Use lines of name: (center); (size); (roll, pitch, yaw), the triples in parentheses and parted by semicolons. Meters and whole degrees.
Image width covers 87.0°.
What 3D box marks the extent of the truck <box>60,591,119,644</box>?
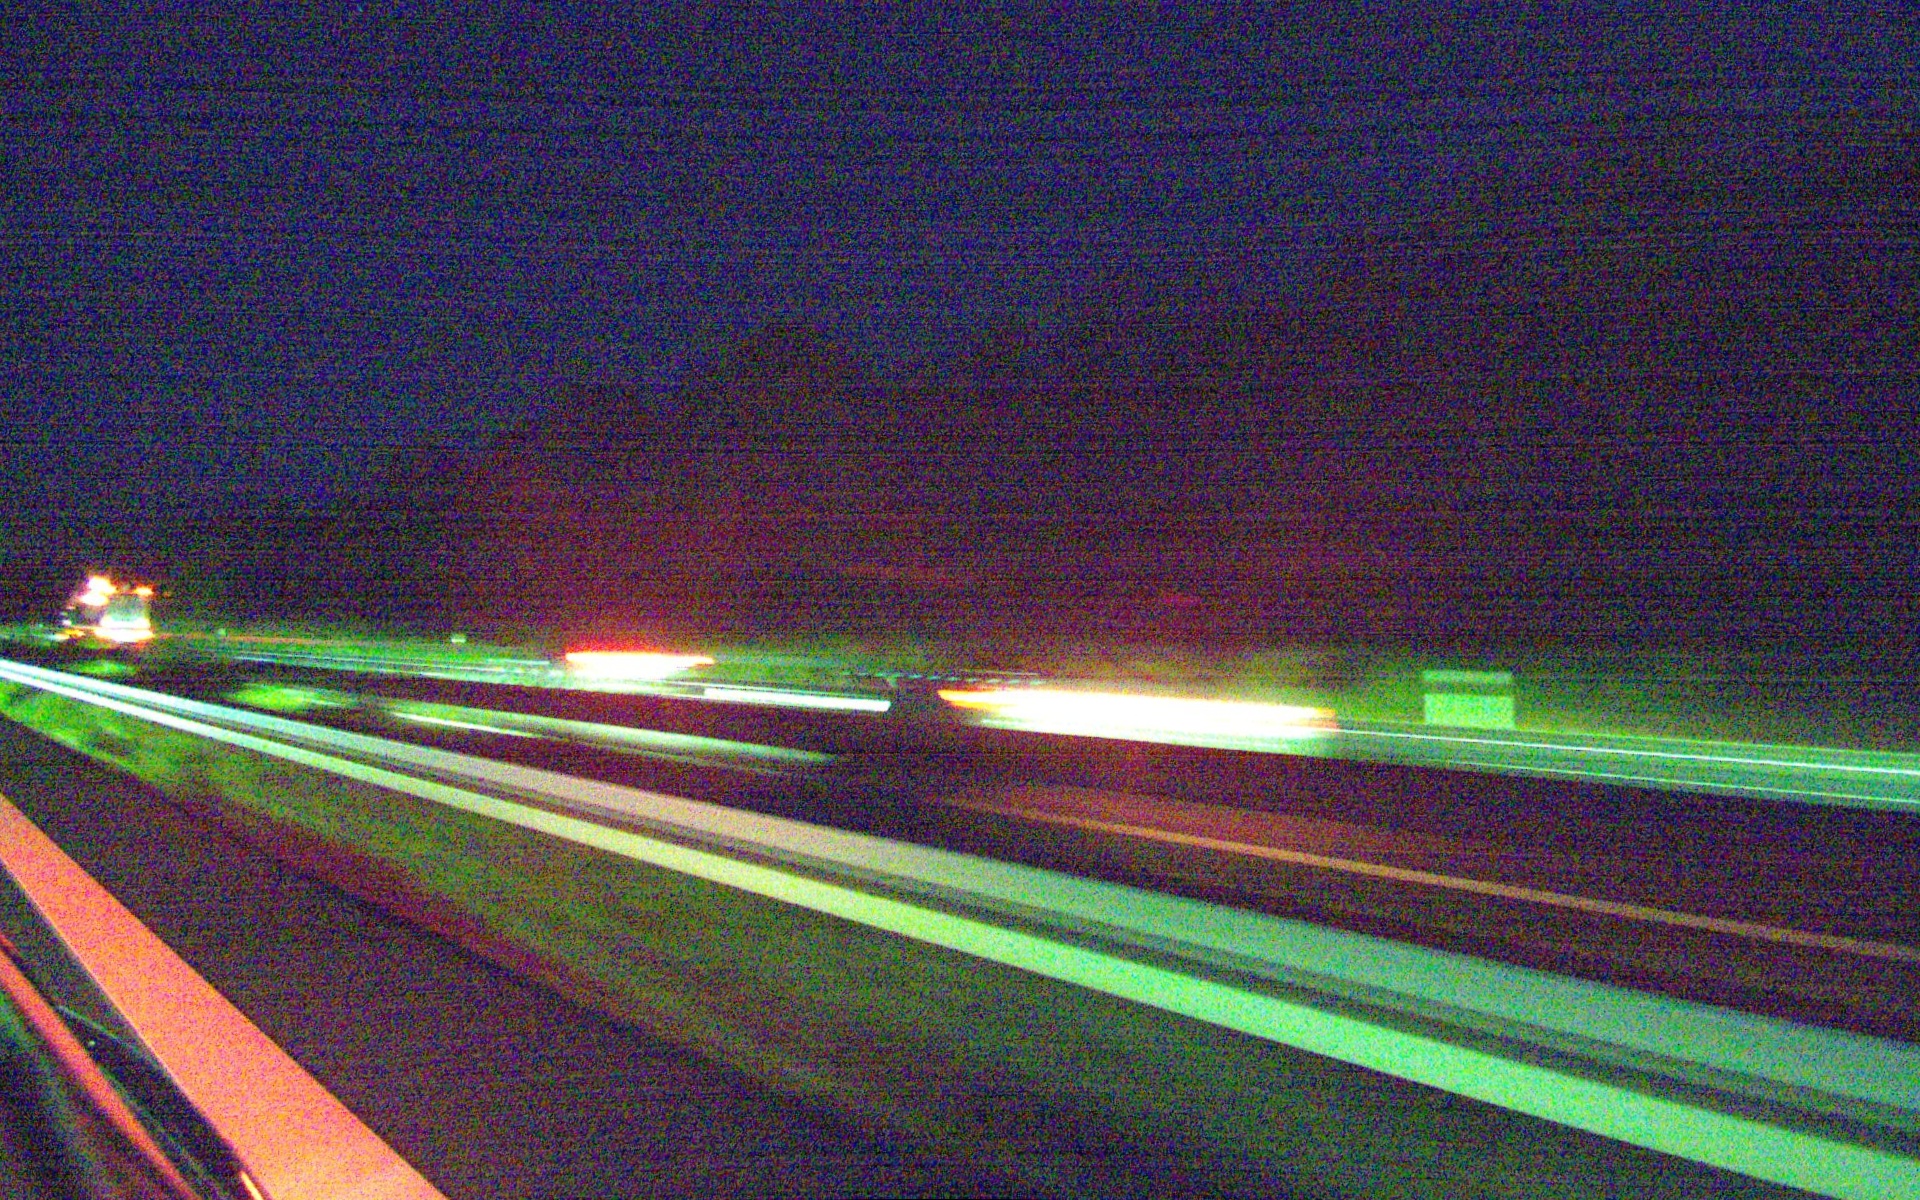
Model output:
truck: (-71.825, 1.482, 83.476); (5.822, 4.244, 2.725); (-1, -3, 40)

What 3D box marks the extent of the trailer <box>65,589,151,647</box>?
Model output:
trailer: (-66.692, 1.410, 79.039); (13.896, 4.208, 2.830); (-1, -3, 41)

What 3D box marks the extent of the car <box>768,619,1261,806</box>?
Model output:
car: (0.352, 0.981, 10.399); (4.898, 1.473, 1.972); (-1, -4, 42)

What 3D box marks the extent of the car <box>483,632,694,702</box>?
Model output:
car: (-8.605, 1.462, 23.119); (5.702, 1.405, 1.973); (-1, -4, 41)
